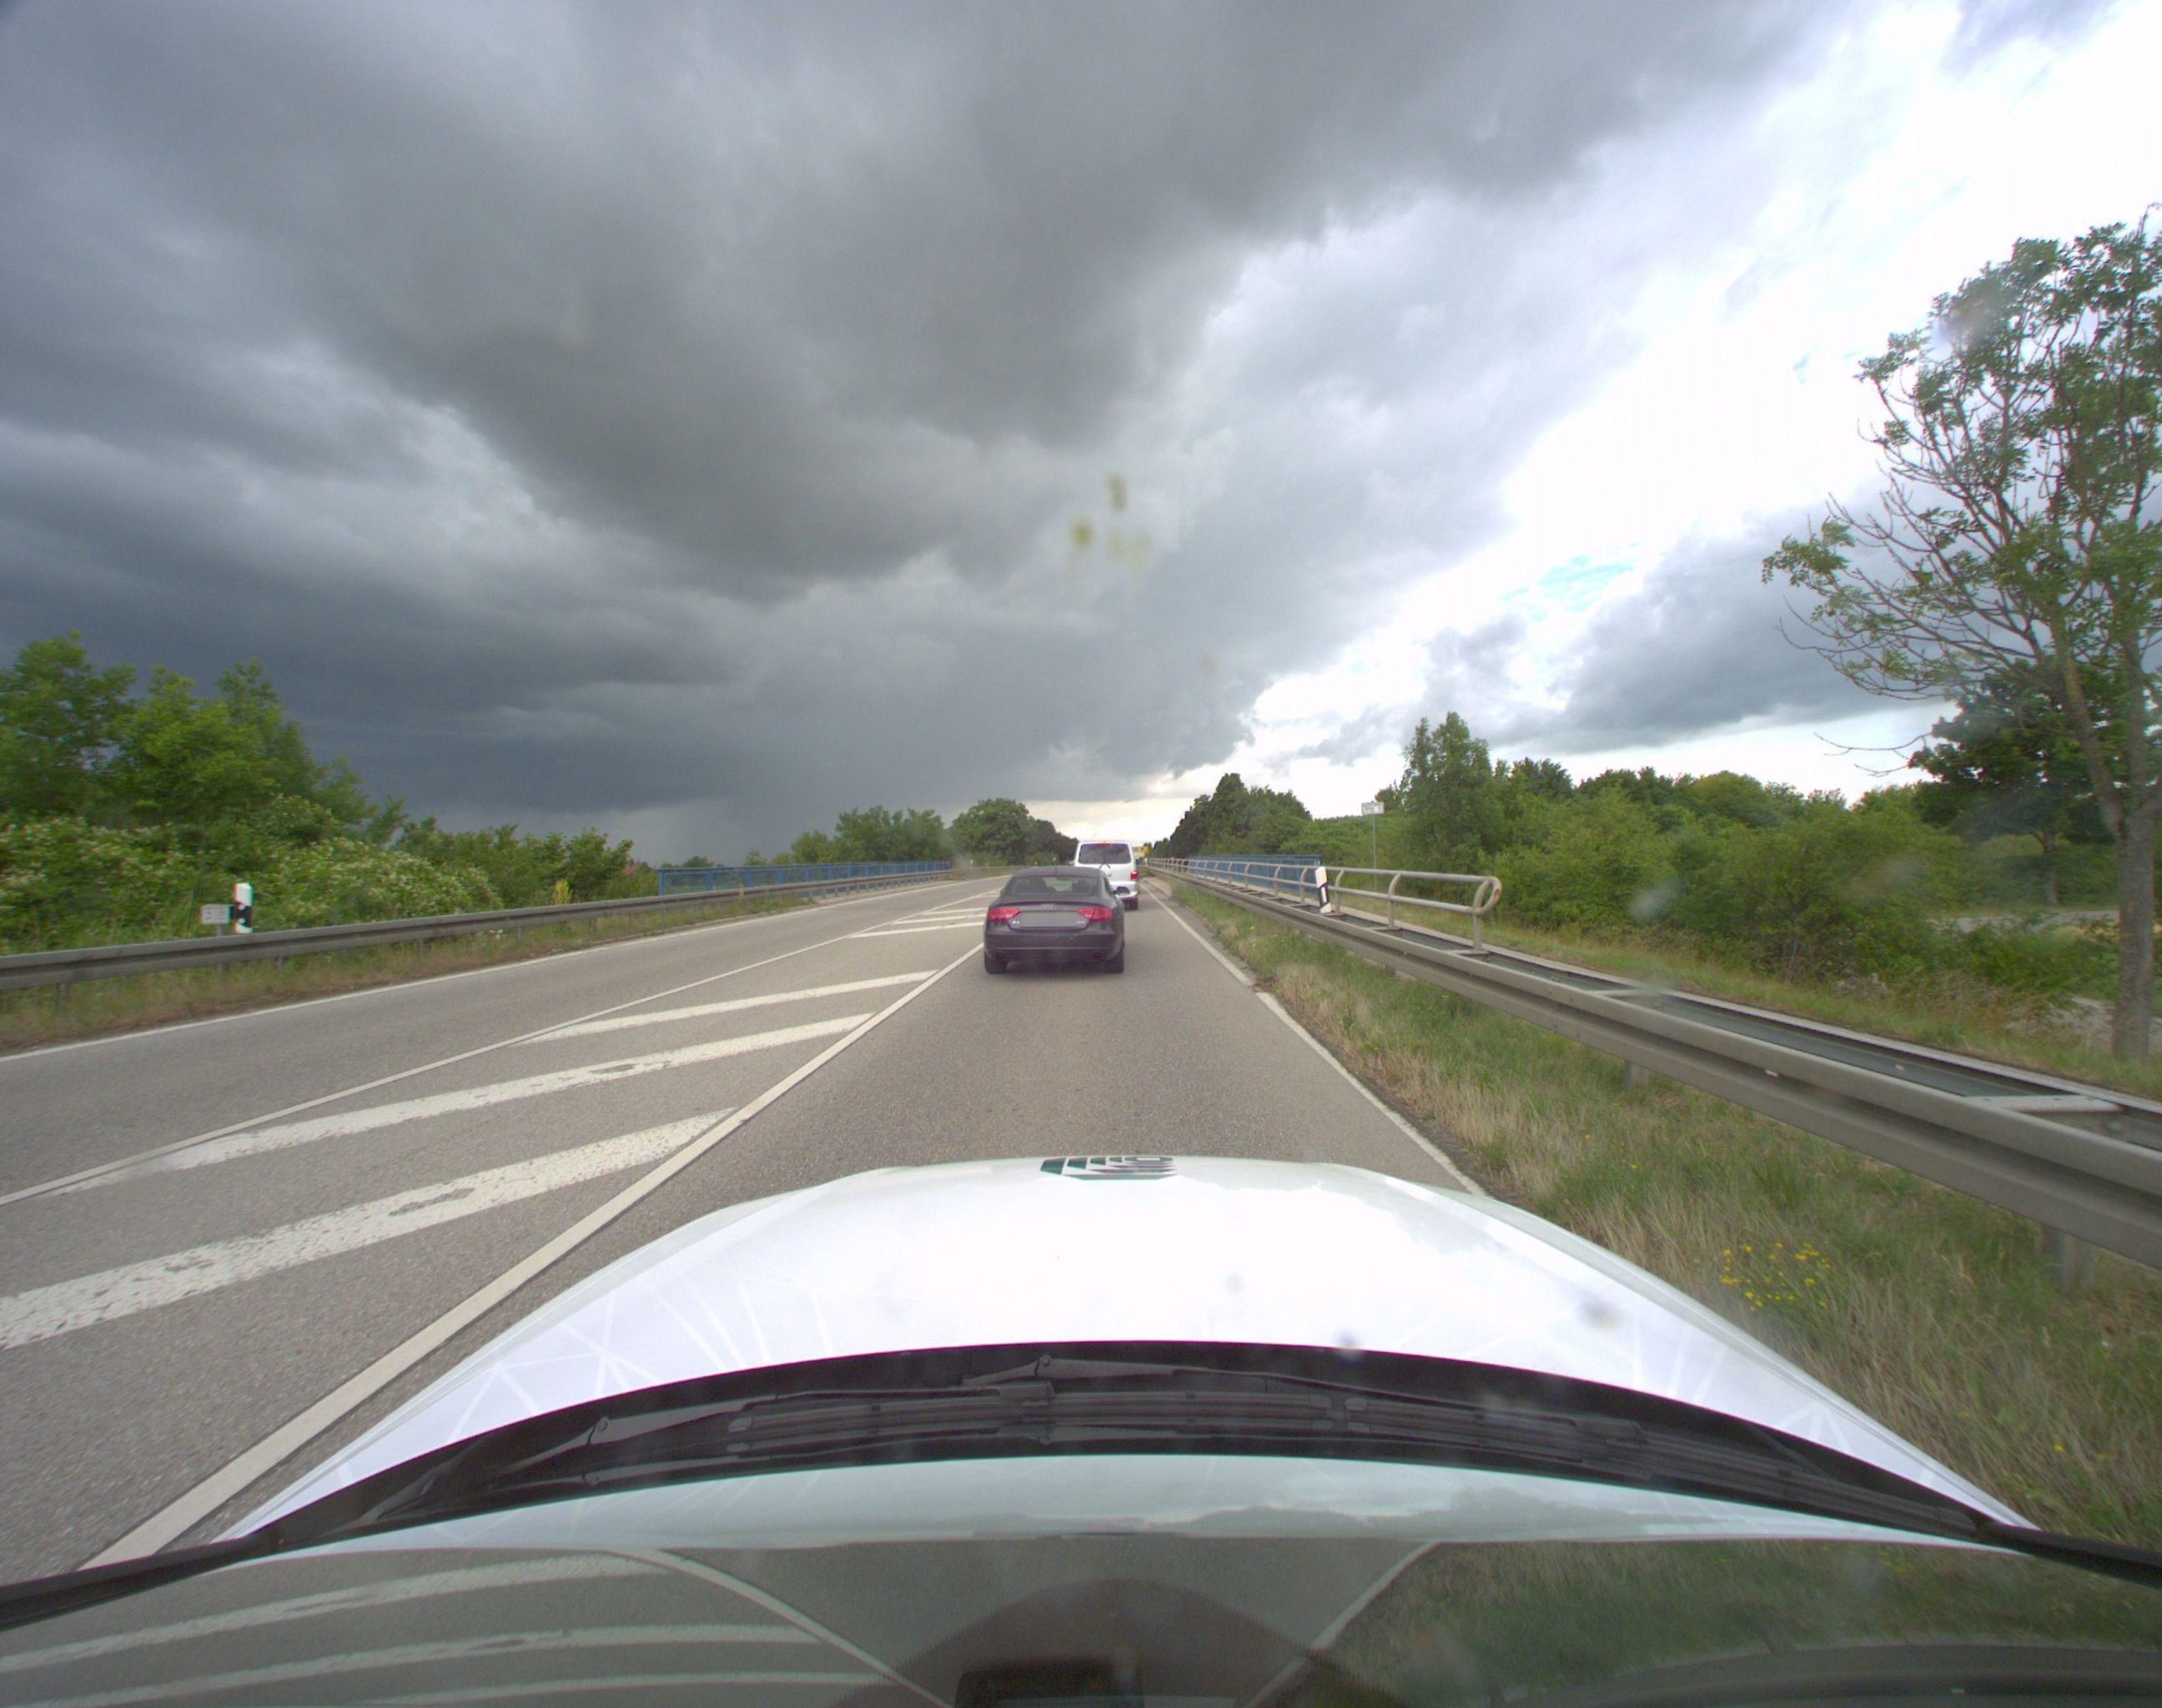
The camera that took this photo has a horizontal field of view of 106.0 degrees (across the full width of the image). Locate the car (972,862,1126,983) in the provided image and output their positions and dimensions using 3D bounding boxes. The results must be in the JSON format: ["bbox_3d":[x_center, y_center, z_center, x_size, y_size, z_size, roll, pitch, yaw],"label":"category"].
[{"bbox_3d":[-0.272,0.843,11.743,1.814,1.381,4.075,-1,0,3],"label":"car"}]

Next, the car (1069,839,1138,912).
[{"bbox_3d":[0.677,0.593,23.996,1.821,1.935,4.002,-1,-1,2],"label":"car"}]

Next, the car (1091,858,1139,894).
[{"bbox_3d":[1.431,0.878,33.641,1.814,1.381,4.075,-1,0,3],"label":"car"}]
